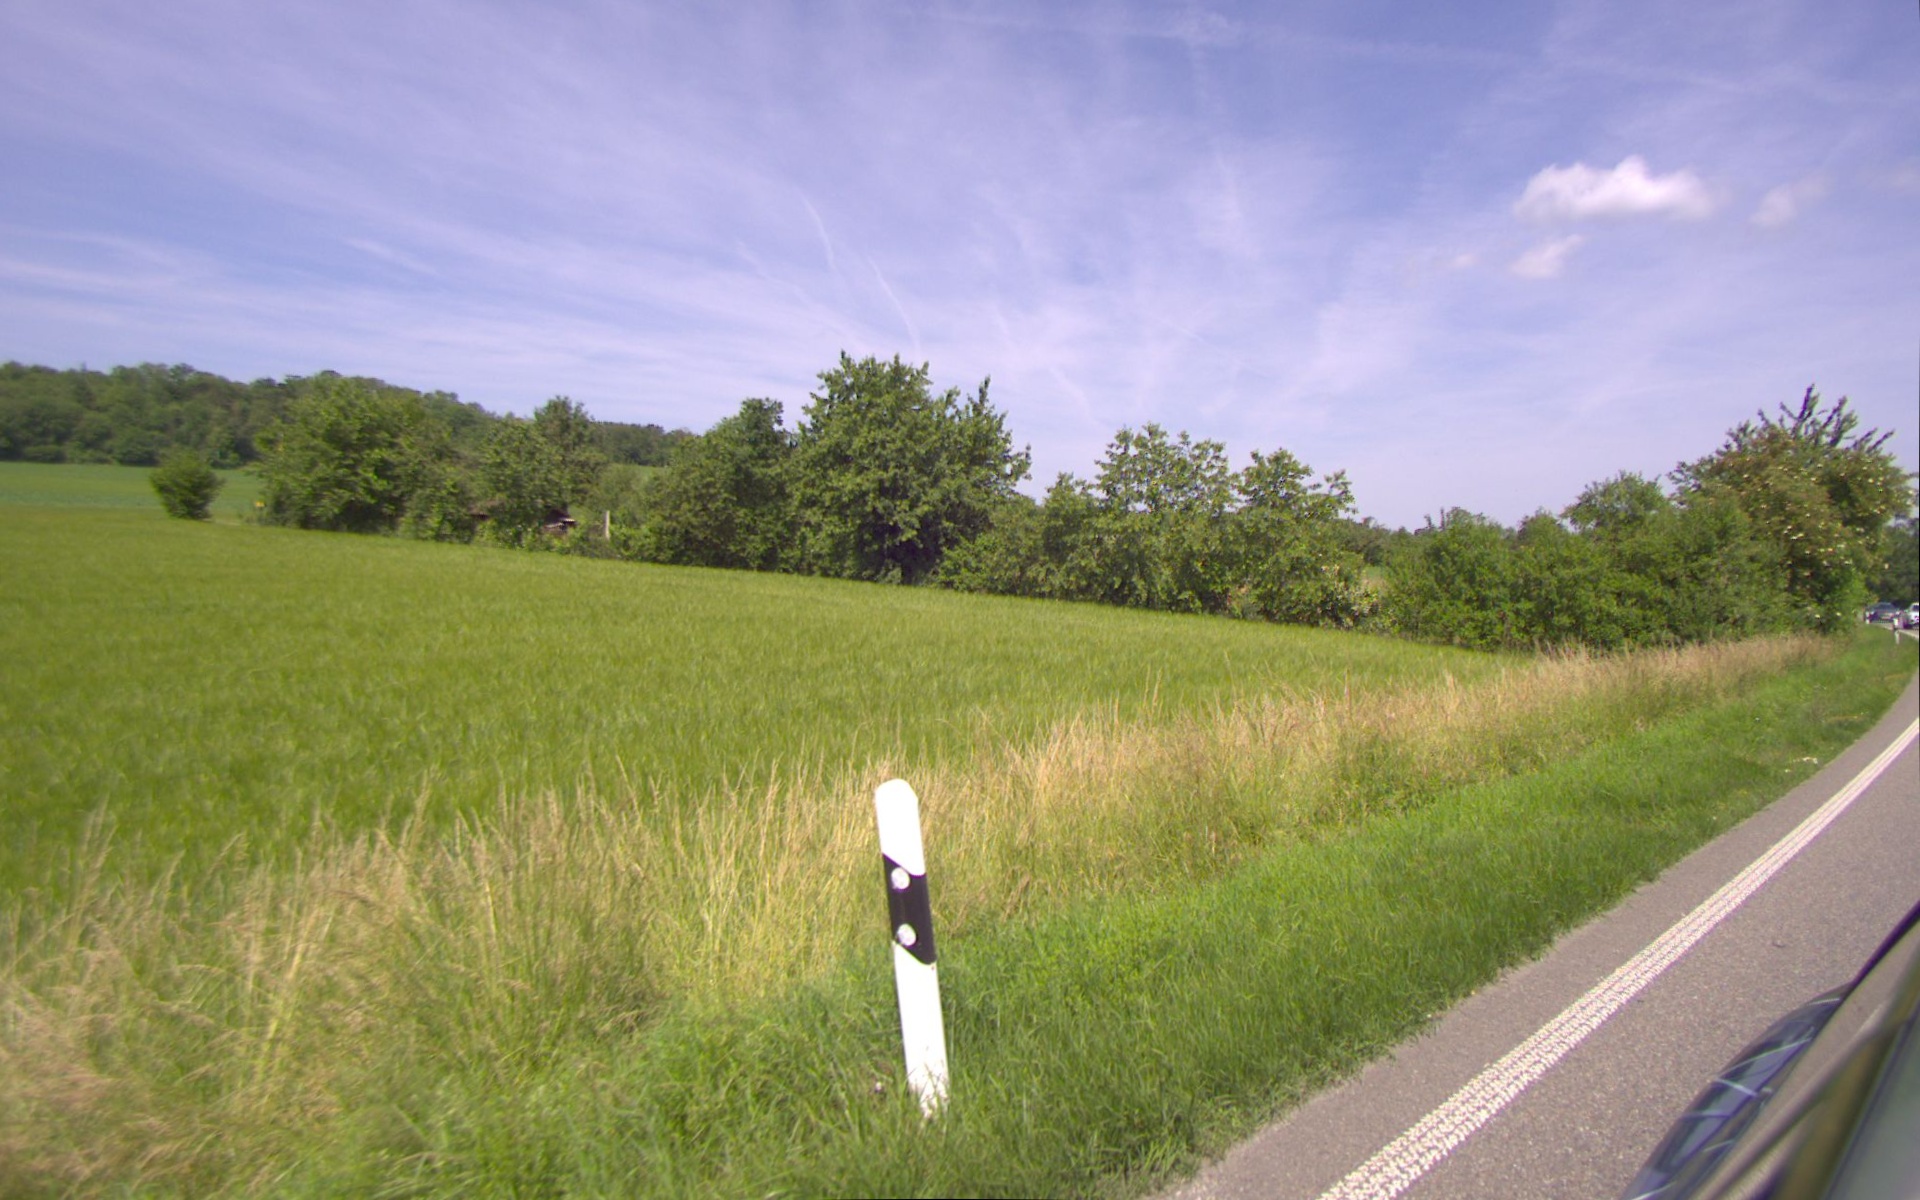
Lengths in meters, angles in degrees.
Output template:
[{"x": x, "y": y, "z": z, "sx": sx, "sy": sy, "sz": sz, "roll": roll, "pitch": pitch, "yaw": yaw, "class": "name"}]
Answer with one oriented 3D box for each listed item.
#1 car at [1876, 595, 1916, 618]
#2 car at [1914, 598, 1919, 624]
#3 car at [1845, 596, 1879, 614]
[{"x": 71.238, "y": 0.474, "z": 77.101, "sx": 1.922, "sy": 1.467, "sz": 4.020, "roll": 4, "pitch": 4, "yaw": 39, "class": "car"}, {"x": 55.550, "y": 0.617, "z": 57.424, "sx": 1.923, "sy": 1.468, "sz": 3.940, "roll": 1, "pitch": 1, "yaw": 41, "class": "car"}, {"x": 84.347, "y": 0.445, "z": 94.703, "sx": 1.920, "sy": 1.468, "sz": 3.948, "roll": 4, "pitch": 2, "yaw": 36, "class": "car"}]
